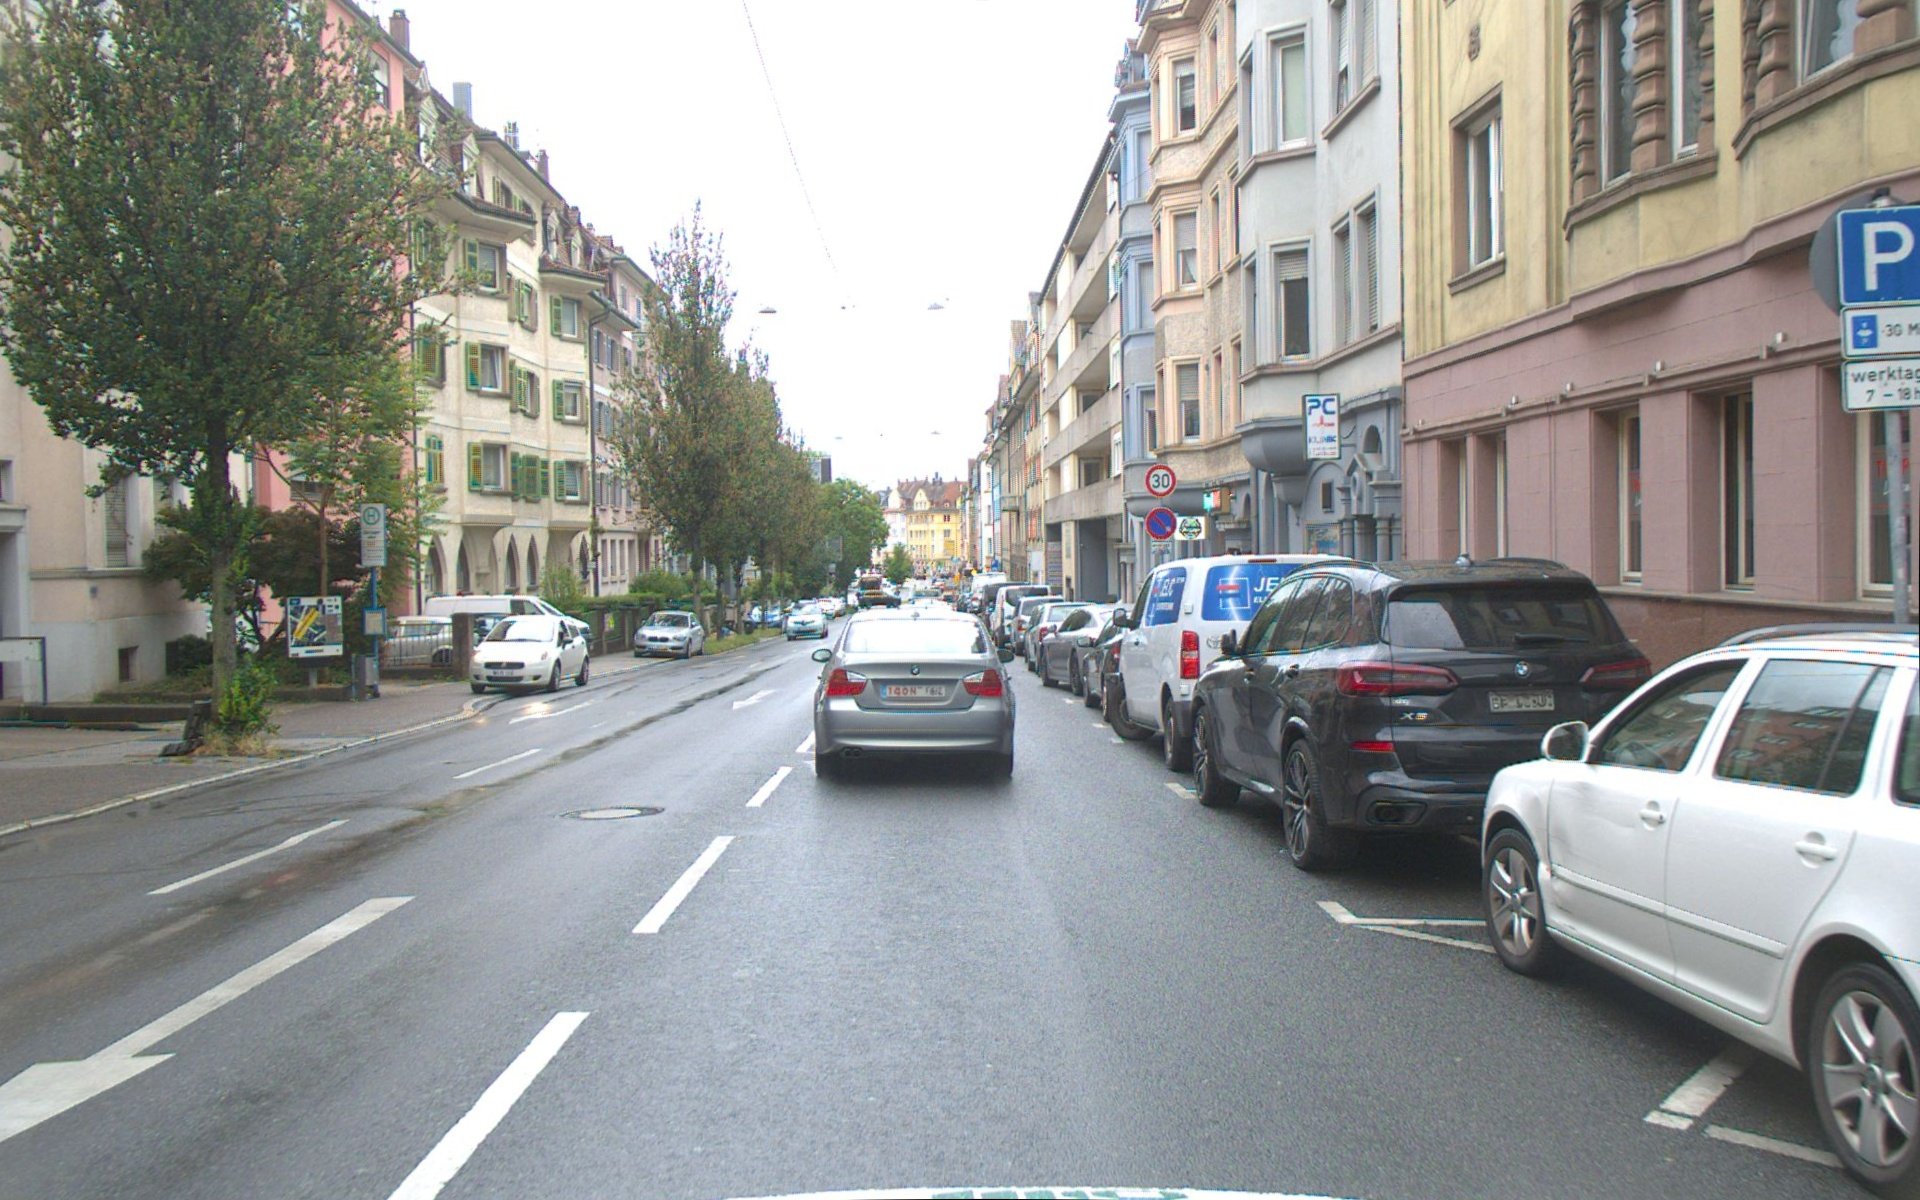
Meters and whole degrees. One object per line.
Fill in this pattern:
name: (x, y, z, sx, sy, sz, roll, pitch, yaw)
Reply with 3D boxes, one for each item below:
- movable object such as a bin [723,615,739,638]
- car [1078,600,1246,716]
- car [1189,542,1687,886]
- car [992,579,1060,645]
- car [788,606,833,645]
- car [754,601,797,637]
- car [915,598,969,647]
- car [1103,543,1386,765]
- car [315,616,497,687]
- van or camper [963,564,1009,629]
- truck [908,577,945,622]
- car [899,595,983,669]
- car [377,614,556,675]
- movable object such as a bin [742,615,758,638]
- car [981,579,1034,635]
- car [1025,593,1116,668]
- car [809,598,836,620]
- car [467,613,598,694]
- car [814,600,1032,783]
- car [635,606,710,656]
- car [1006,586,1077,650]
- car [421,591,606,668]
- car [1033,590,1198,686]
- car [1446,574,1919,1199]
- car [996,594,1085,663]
movable object such as a bin: (-9.567, 1.119, 69.201, 0.565, 0.928, 0.637, -2, 0, -15)
car: (2.587, 0.699, 22.097, 1.643, 1.399, 4.275, 0, 0, -1)
car: (2.798, 0.592, 10.878, 1.841, 1.762, 4.675, 1, 0, -1)
car: (2.159, 0.380, 55.267, 1.942, 2.042, 4.624, -2, 0, -1)
car: (-6.551, 1.097, 72.545, 1.603, 1.534, 3.754, -4, 0, -1)
car: (-9.053, 0.914, 81.557, 1.731, 1.621, 3.998, -3, 0, -2)
car: (-0.610, 0.726, 53.524, 1.663, 1.509, 3.792, 0, 0, -2)
car: (2.690, 0.470, 16.878, 1.880, 1.859, 5.008, -2, 0, -1)
car: (-13.169, 1.205, 39.530, 3.809, 1.483, 1.788, -2, 0, -9)
van or camper: (1.312, -0.171, 80.358, 1.991, 2.919, 6.887, 2, 0, 3)
truck: (-1.892, 0.004, 92.799, 1.991, 2.455, 4.825, 0, -1, -2)
car: (-0.376, 0.639, 34.460, 1.647, 1.453, 3.740, 0, 0, 0)
car: (-13.457, 1.204, 45.284, 4.344, 1.477, 1.791, -2, 0, -4)
movable object such as a bin: (-8.818, 1.106, 69.471, 0.565, 0.928, 0.637, -2, 0, -15)
car: (1.960, 0.283, 69.906, 1.942, 2.203, 4.749, -2, 0, -1)
car: (2.287, 0.611, 34.954, 1.578, 1.500, 4.014, 0, 0, -1)
car: (-10.280, 0.643, 123.764, 1.656, 1.550, 3.736, -3, 0, 0)
car: (-8.550, 1.023, 33.382, 1.588, 1.471, 4.005, -1, 0, 0)
car: (-0.351, 0.741, 15.087, 1.733, 1.453, 3.739, 0, 0, -2)
car: (-9.163, 0.978, 52.983, 1.691, 1.510, 3.988, 1, -1, 0)
car: (2.350, 0.493, 48.523, 1.691, 1.699, 4.287, -3, 0, -1)
car: (-12.827, 0.835, 47.761, 4.731, 2.008, 2.047, -2, 0, -1)
car: (2.542, 0.603, 28.220, 1.839, 1.493, 4.767, 0, 0, -7)
car: (3.238, 0.739, 5.539, 1.763, 1.592, 4.491, 1, 0, -2)
car: (1.937, 0.662, 41.109, 1.861, 1.504, 4.798, -4, 0, 0)
